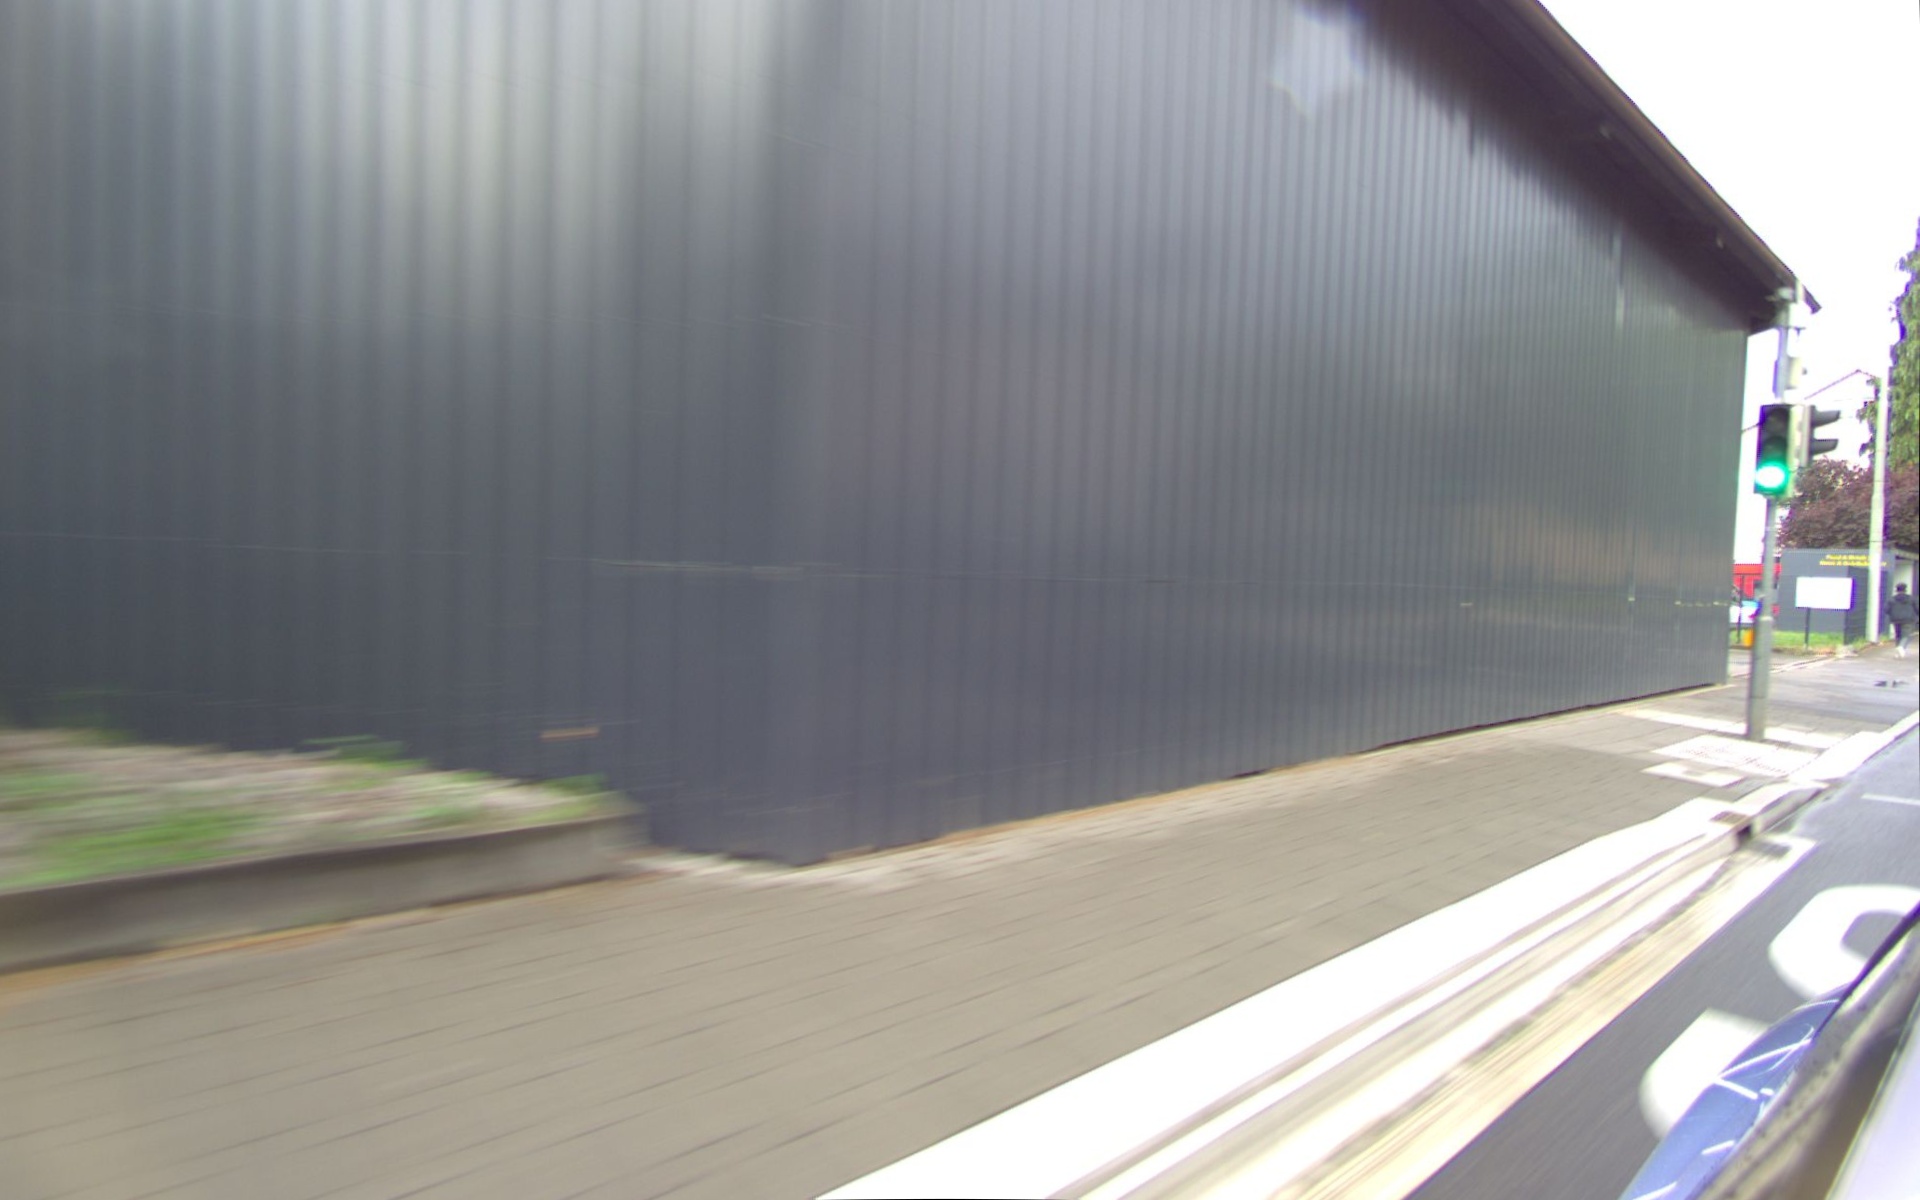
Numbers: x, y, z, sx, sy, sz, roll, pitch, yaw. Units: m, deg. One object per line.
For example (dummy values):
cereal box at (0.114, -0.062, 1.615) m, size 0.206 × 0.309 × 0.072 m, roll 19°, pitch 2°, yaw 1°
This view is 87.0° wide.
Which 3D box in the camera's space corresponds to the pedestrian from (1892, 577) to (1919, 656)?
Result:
pedestrian at (21.442, 0.351, 22.710) m, size 0.742 × 1.725 × 0.887 m, roll 1°, pitch 2°, yaw 44°

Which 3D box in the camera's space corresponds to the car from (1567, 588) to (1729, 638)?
car at (21.972, 0.361, 32.447) m, size 1.753 × 1.441 × 3.996 m, roll -2°, pitch 2°, yaw -39°

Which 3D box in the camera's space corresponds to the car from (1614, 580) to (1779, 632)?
car at (25.801, 0.160, 35.572) m, size 1.764 × 1.549 × 4.386 m, roll -2°, pitch 3°, yaw -42°

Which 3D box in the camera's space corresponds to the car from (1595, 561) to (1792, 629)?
car at (27.129, -0.252, 37.636) m, size 1.966 × 2.238 × 5.577 m, roll 1°, pitch 2°, yaw -42°
